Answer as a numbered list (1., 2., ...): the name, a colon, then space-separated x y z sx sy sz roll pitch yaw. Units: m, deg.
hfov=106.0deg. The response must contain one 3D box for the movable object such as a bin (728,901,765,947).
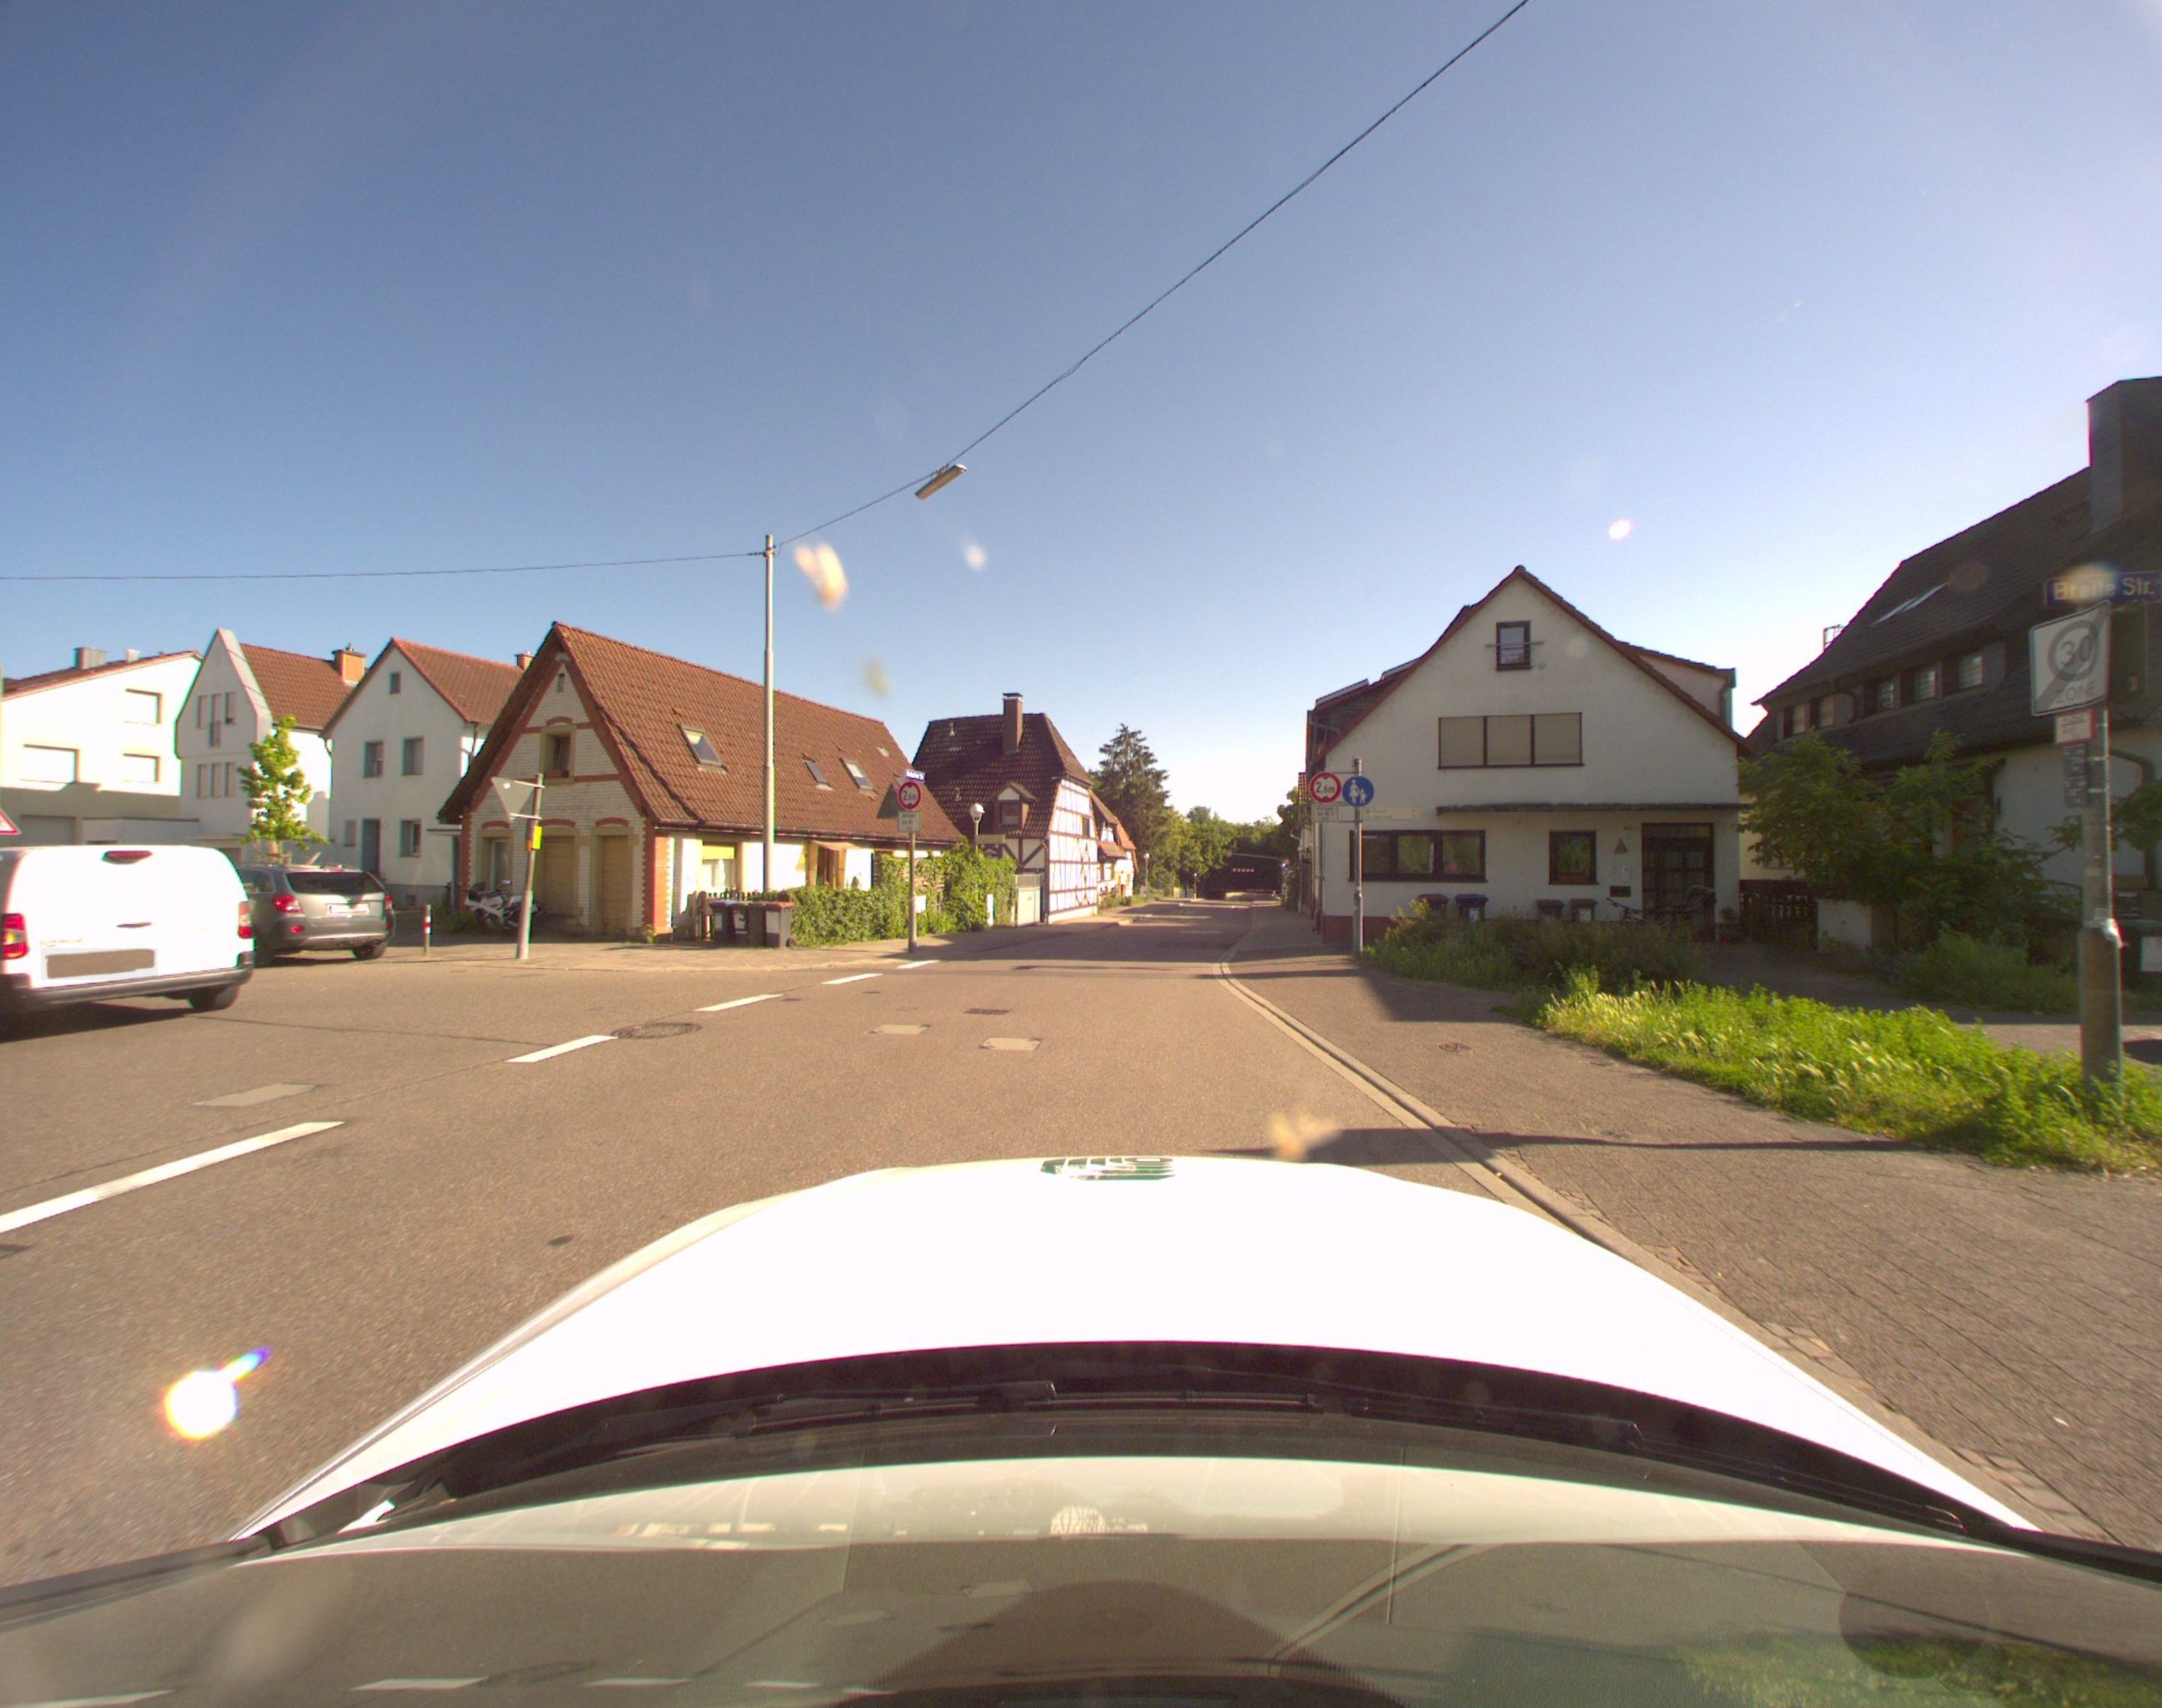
1. movable object such as a bin: -7.106 1.482 17.293 0.409 0.906 0.628 0 0 20

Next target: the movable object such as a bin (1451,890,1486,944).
1. movable object such as a bin: 8.437 1.363 17.761 0.523 1.123 0.750 0 -1 11

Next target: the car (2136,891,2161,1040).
1. car: 10.943 1.110 5.525 1.980 1.421 4.818 0 1 12

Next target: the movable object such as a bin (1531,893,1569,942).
1. movable object such as a bin: 10.113 1.359 17.560 0.526 0.983 0.671 0 -1 11

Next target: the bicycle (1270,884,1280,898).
1. bicycle: 16.361 3.120 68.714 0.684 1.157 1.544 -4 -3 12

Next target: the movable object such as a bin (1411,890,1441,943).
1. movable object such as a bin: 7.649 1.369 18.064 0.477 1.123 0.750 0 -1 11

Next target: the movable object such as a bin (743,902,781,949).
1. movable object such as a bin: -6.711 1.489 17.144 0.407 0.925 0.628 0 -1 20

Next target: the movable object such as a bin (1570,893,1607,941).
1. movable object such as a bin: 10.852 1.331 17.421 0.494 0.977 0.596 0 -1 11

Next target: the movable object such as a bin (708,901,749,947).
1. movable object such as a bin: -7.554 1.488 17.445 0.503 0.925 0.628 0 -1 20

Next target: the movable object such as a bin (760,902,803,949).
1. movable object such as a bin: -6.240 1.482 16.983 0.551 0.925 0.628 0 -1 20

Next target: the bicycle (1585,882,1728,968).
1. bicycle: 9.124 1.106 12.972 1.726 1.284 0.702 0 -2 10

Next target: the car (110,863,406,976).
1. car: -14.366 1.047 14.264 4.186 1.725 1.955 0 -1 19

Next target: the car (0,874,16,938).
1. car: -28.556 1.249 19.803 4.186 1.549 1.955 0 -1 19

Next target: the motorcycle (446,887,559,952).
1. motorcycle: -12.749 1.419 17.939 2.223 1.295 0.887 -1 1 20
